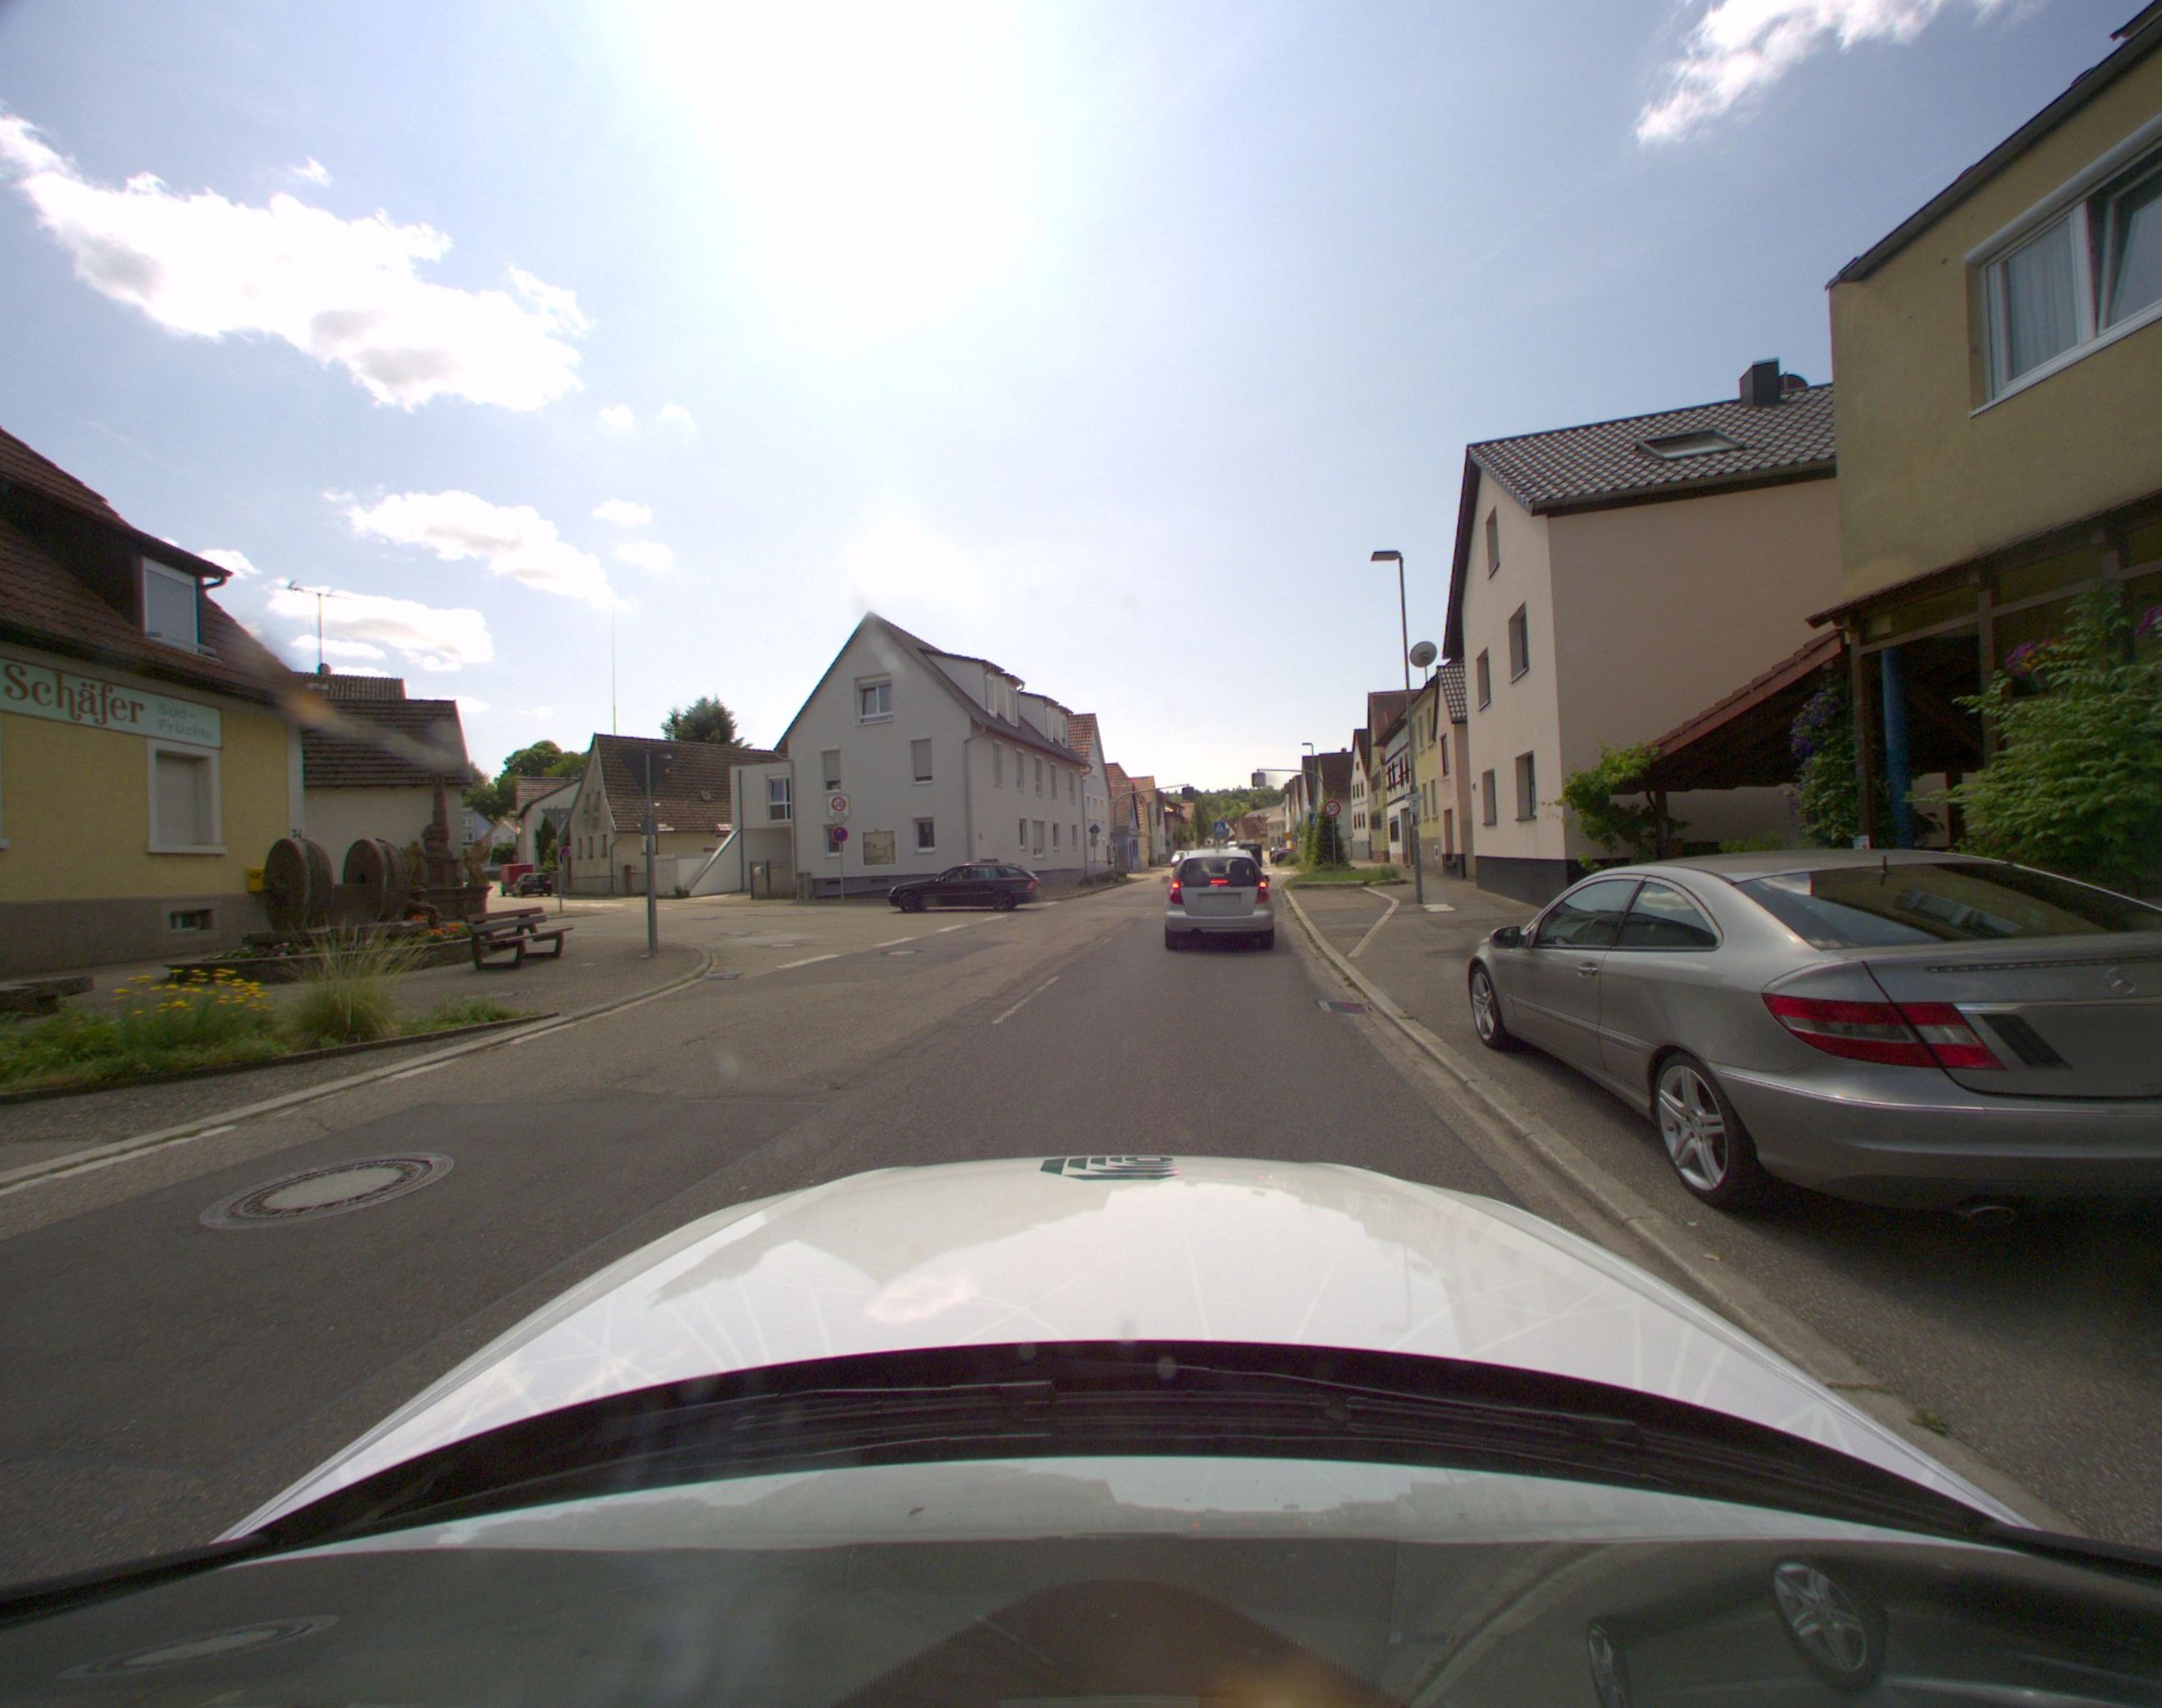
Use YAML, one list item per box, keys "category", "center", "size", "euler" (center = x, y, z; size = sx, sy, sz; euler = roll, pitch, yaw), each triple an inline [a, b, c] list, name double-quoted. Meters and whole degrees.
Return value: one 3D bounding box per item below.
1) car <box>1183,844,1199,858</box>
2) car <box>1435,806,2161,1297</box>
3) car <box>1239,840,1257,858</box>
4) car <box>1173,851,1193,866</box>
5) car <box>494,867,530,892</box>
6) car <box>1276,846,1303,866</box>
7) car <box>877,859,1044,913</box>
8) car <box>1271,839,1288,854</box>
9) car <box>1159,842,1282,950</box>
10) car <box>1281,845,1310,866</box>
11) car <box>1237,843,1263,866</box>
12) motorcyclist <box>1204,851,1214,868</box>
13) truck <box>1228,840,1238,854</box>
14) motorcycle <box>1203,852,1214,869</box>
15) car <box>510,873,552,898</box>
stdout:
- category: "car"
  center: [13.682, -0.305, 101.126]
  size: [1.656, 1.596, 4.012]
  euler: [-2, -2, 11]
- category: "car"
  center: [3.524, 0.617, 4.549]
  size: [1.759, 1.400, 4.437]
  euler: [-5, -2, 10]
- category: "car"
  center: [20.125, -0.619, 98.092]
  size: [1.980, 2.014, 4.012]
  euler: [-2, -2, 11]
- category: "car"
  center: [10.316, 0.472, 82.571]
  size: [1.983, 1.321, 3.715]
  euler: [-1, -2, 6]
- category: "car"
  center: [-38.271, 1.717, 54.715]
  size: [3.432, 1.635, 1.405]
  euler: [-3, -3, 45]
- category: "car"
  center: [17.921, 0.195, 70.156]
  size: [1.980, 1.508, 4.012]
  euler: [-2, -2, 11]
- category: "car"
  center: [-3.475, 0.939, 24.099]
  size: [4.605, 1.412, 1.814]
  euler: [-1, -2, 0]
- category: "car"
  center: [27.474, -1.006, 112.892]
  size: [1.981, 1.816, 4.011]
  euler: [-2, -2, 10]
- category: "car"
  center: [2.319, 0.657, 14.394]
  size: [1.802, 1.643, 3.734]
  euler: [0, 0, 4]
- category: "car"
  center: [16.625, 0.163, 63.263]
  size: [1.980, 1.508, 4.012]
  euler: [-2, -2, 11]
- category: "car"
  center: [14.032, 0.070, 67.739]
  size: [1.981, 1.816, 4.011]
  euler: [-2, -2, 10]
- category: "motorcyclist"
  center: [11.838, 0.521, 75.337]
  size: [0.890, 1.554, 0.809]
  euler: [-2, 0, 11]
- category: "truck"
  center: [31.366, -1.451, 168.334]
  size: [1.981, 2.537, 6.759]
  euler: [-2, -2, 11]
- category: "motorcycle"
  center: [11.844, 0.599, 75.474]
  size: [0.874, 1.561, 1.974]
  euler: [-2, 0, 11]
- category: "car"
  center: [-34.281, 1.973, 50.729]
  size: [3.432, 1.530, 1.500]
  euler: [-3, -3, 45]
